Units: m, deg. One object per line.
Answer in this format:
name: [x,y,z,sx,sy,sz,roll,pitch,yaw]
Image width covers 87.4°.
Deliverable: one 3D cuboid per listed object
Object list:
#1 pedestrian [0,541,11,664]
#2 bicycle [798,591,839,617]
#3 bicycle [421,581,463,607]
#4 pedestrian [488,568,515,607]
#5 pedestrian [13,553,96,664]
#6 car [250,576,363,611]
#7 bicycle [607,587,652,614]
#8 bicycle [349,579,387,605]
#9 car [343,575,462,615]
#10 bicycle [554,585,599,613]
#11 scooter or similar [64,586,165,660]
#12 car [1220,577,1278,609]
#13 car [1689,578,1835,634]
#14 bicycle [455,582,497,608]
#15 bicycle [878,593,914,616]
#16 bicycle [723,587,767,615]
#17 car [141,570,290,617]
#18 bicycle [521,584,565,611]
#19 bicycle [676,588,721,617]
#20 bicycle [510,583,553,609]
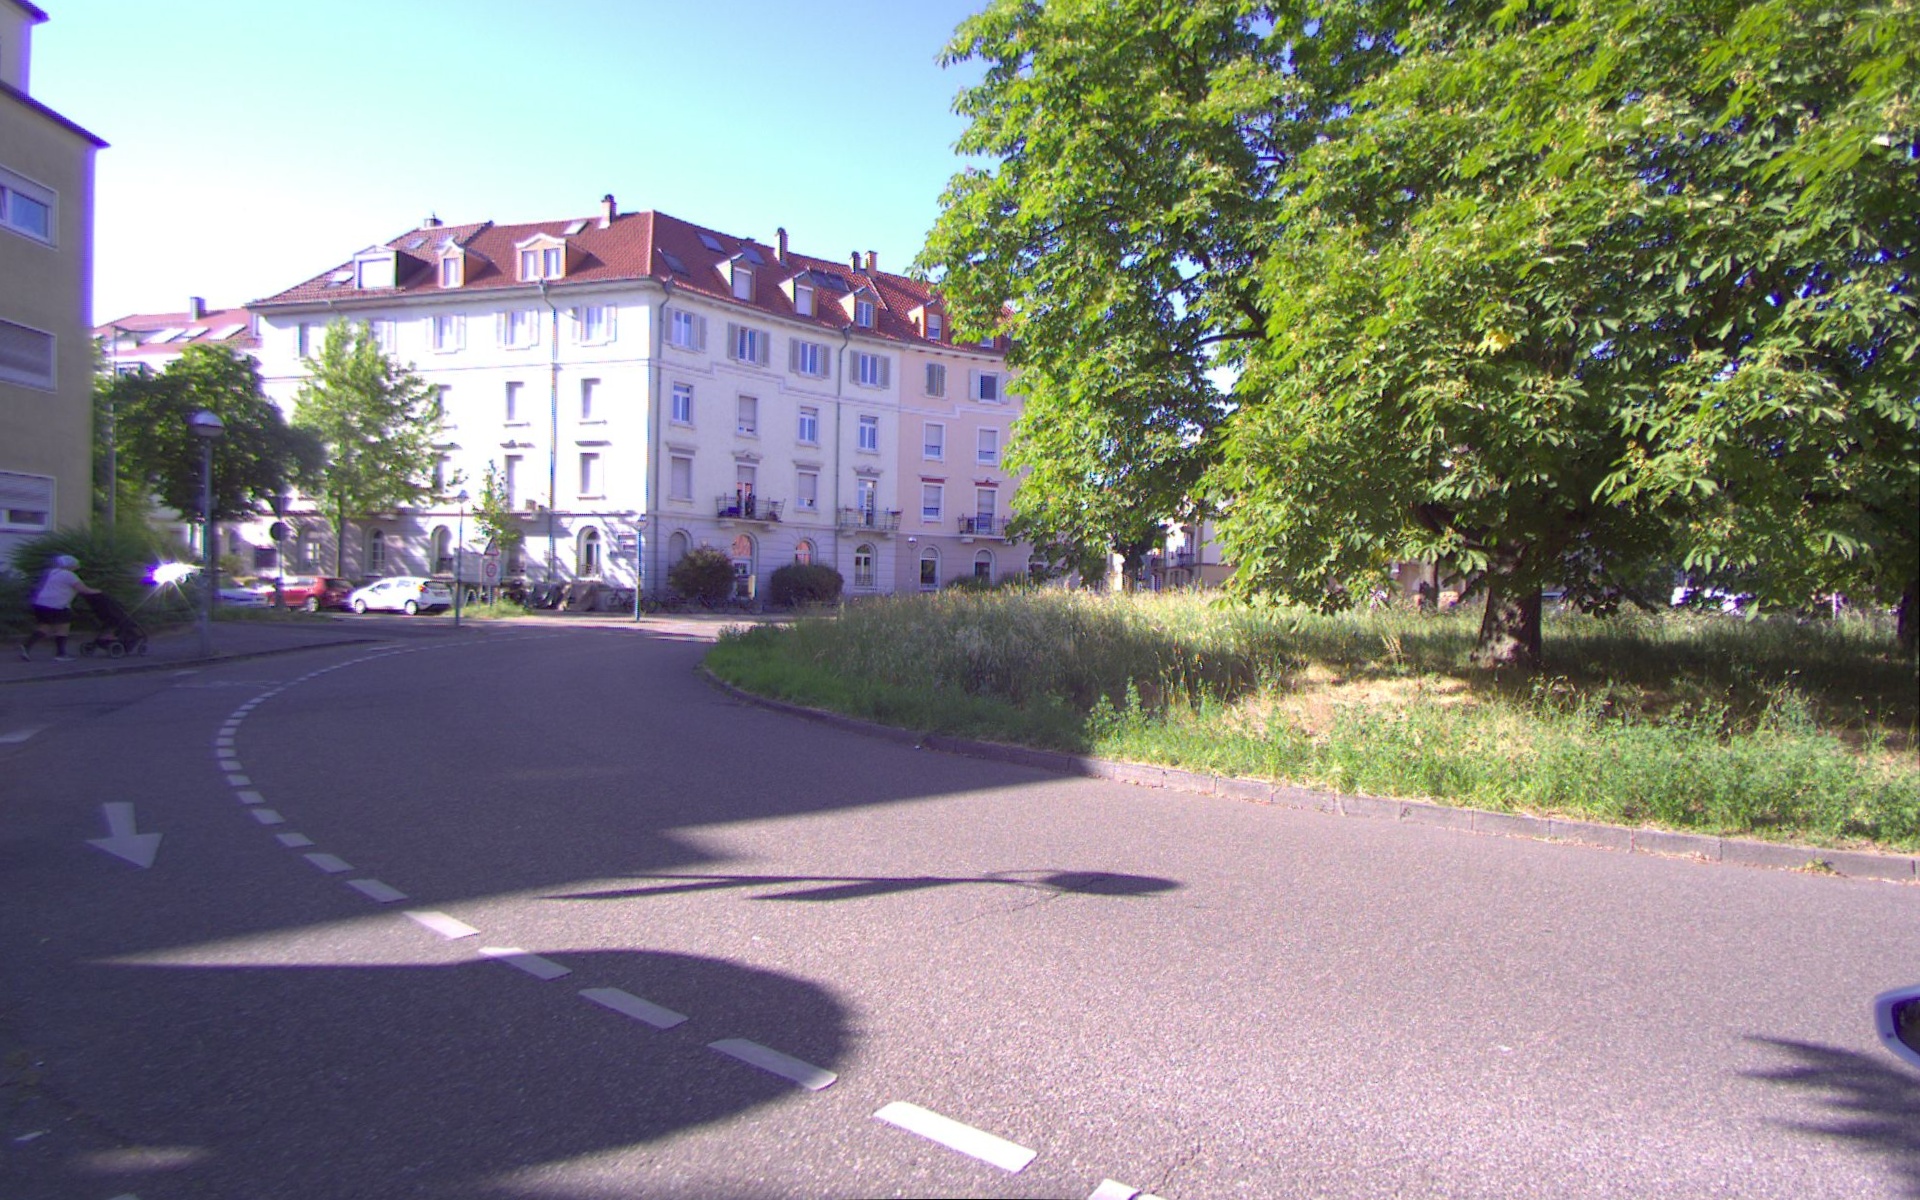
pedestrian: [-13.758,0.028,13.997,0.544,1.716,0.608,6,3,26]
bicycle: [-6.662,0.175,47.198,1.776,1.139,0.567,3,0,-26]
bicycle: [-23.994,-0.298,46.538,1.763,1.157,0.571,1,1,13]
pedestrian: [-19.927,-0.536,43.628,0.730,1.683,0.774,1,1,13]
pedestrian: [-13.312,0.113,14.775,0.638,1.544,0.696,6,3,26]
car: [-26.096,-0.276,40.147,3.644,1.272,1.801,1,1,15]
bicycle: [-14.212,0.037,43.180,1.774,1.122,0.497,1,1,-23]
bicycle: [-28.229,-0.389,47.884,1.765,1.157,0.570,2,1,21]
car: [-21.633,-0.204,39.016,3.920,1.432,1.800,2,1,16]
bicycle: [-16.451,-0.058,43.126,1.763,1.139,0.571,1,1,13]
scooter or similar: [-13.075,0.338,15.547,0.900,1.037,0.898,6,3,26]
car: [18.641,-0.447,64.945,2.101,1.935,4.557,1,0,-5]
car: [41.526,0.235,52.315,2.063,2.635,6.371,2,2,-4]
bicycle: [-22.200,-0.238,46.055,1.763,1.139,0.571,1,1,13]
bicycle: [-3.123,0.222,49.211,1.667,1.103,0.498,1,3,-31]
bicycle: [-9.585,0.061,44.833,1.784,1.139,0.564,3,0,-39]
car: [-24.205,-0.236,32.706,3.919,1.430,1.804,1,1,13]
bicycle: [-18.237,-0.115,43.950,1.763,1.139,0.571,1,1,13]
bicycle: [-11.380,0.111,43.744,1.776,1.139,0.567,3,0,-26]
bicycle: [-19.247,-0.175,45.081,1.763,1.139,0.571,1,1,13]
